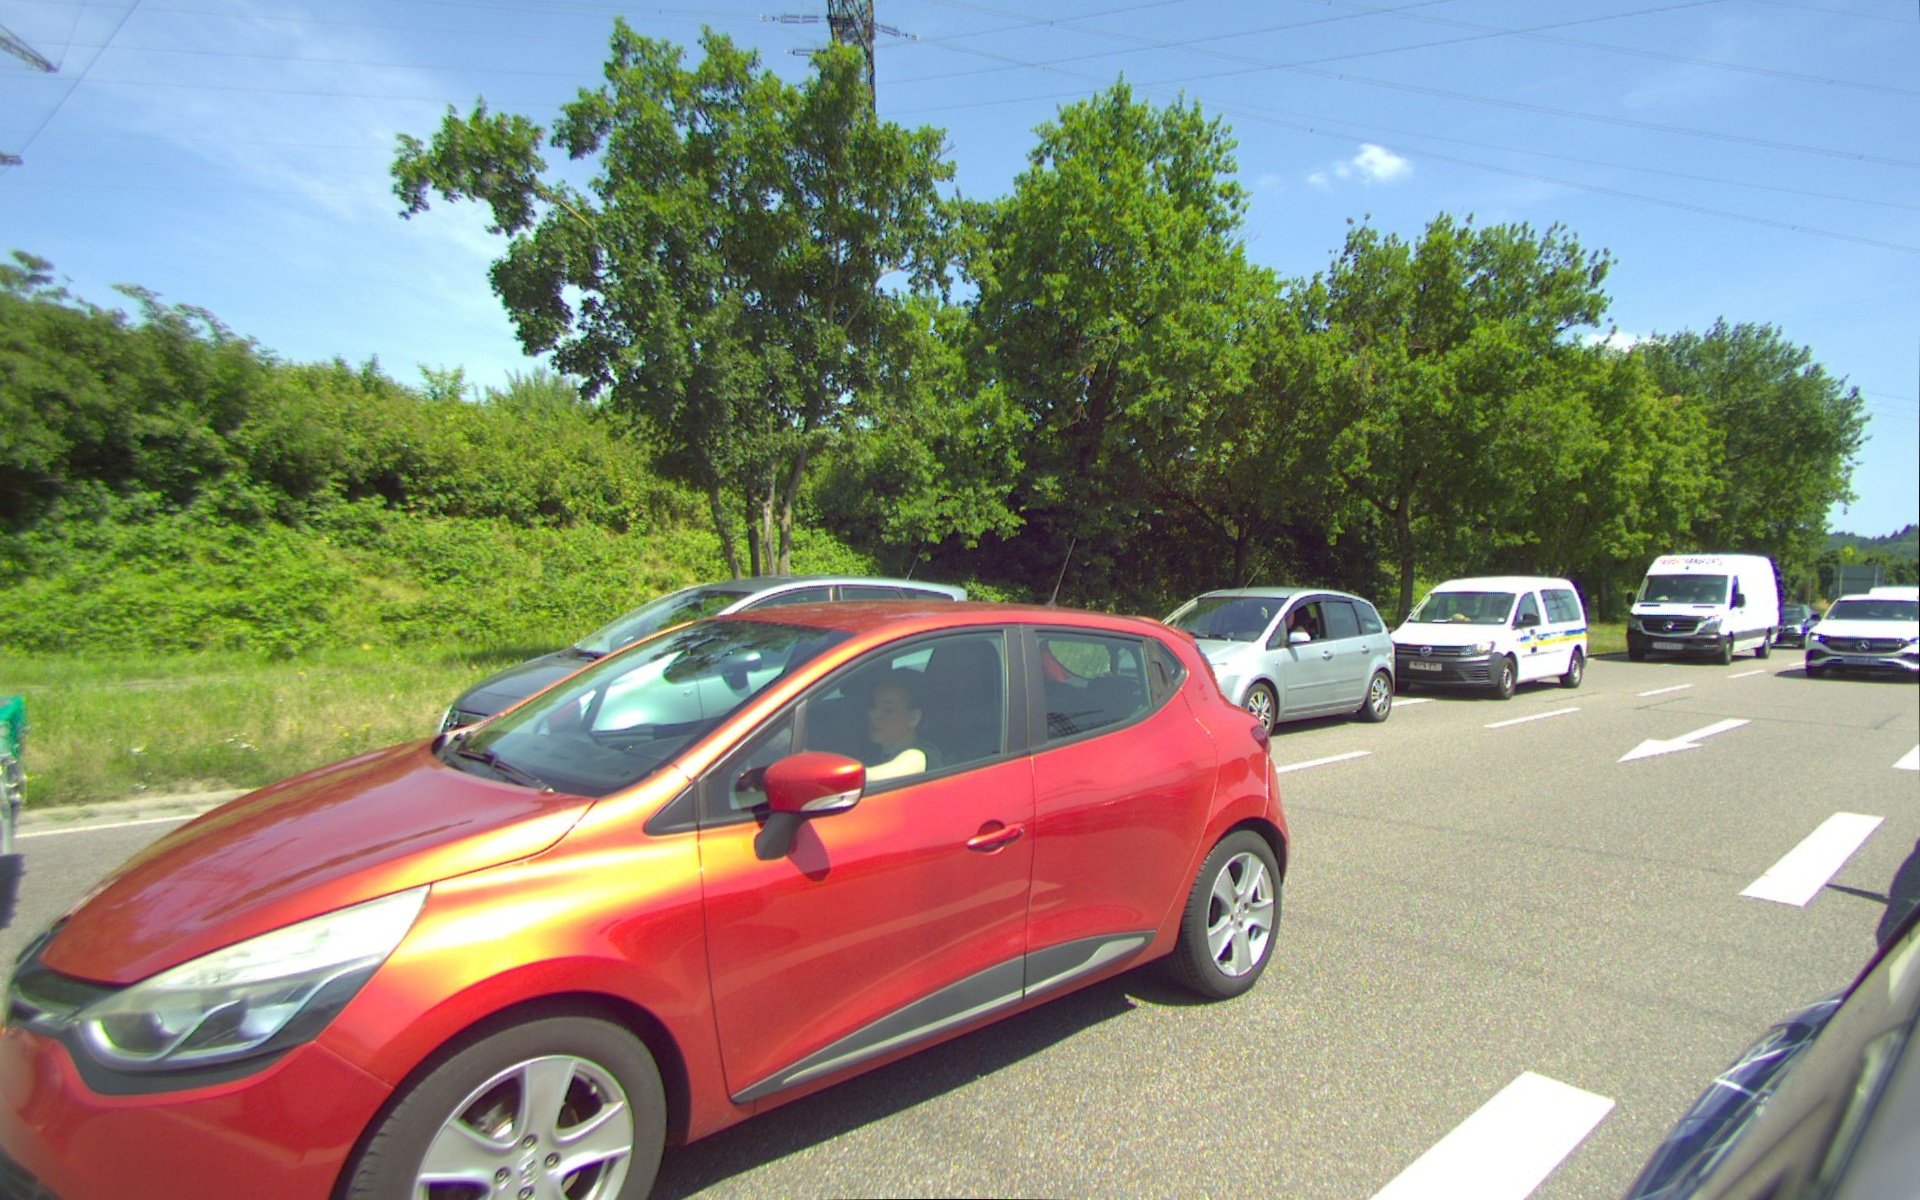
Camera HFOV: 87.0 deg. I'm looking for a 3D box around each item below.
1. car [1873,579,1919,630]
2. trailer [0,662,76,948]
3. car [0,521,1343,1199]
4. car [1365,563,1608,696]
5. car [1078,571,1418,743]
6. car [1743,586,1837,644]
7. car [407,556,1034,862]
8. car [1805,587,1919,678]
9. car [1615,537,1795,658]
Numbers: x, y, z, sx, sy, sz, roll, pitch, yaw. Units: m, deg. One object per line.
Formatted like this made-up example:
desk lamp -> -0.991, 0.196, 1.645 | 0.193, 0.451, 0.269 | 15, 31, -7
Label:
car -> 47.530, 0.210, 50.463 | 5.712, 2.453, 2.306 | 0, 0, -41
trailer -> -5.403, 0.849, 3.677 | 3.266, 1.019, 1.709 | 0, 0, -41
car -> -0.519, 0.619, 3.435 | 3.994, 1.480, 1.746 | 0, 0, -41
car -> 8.523, 0.398, 16.158 | 4.950, 1.823, 1.807 | 0, 0, -42
car -> 3.411, 0.529, 11.564 | 4.197, 1.614, 1.746 | 0, 0, -41
car -> 26.858, 0.430, 32.716 | 3.933, 1.705, 1.875 | -1, 1, -43
car -> -1.536, 0.555, 7.358 | 4.092, 1.615, 1.768 | 0, 1, -41
car -> 17.916, 0.569, 19.508 | 4.287, 1.588, 1.849 | 0, 0, -41
car -> 18.683, -0.061, 25.215 | 6.897, 2.640, 2.230 | 0, 0, -42
